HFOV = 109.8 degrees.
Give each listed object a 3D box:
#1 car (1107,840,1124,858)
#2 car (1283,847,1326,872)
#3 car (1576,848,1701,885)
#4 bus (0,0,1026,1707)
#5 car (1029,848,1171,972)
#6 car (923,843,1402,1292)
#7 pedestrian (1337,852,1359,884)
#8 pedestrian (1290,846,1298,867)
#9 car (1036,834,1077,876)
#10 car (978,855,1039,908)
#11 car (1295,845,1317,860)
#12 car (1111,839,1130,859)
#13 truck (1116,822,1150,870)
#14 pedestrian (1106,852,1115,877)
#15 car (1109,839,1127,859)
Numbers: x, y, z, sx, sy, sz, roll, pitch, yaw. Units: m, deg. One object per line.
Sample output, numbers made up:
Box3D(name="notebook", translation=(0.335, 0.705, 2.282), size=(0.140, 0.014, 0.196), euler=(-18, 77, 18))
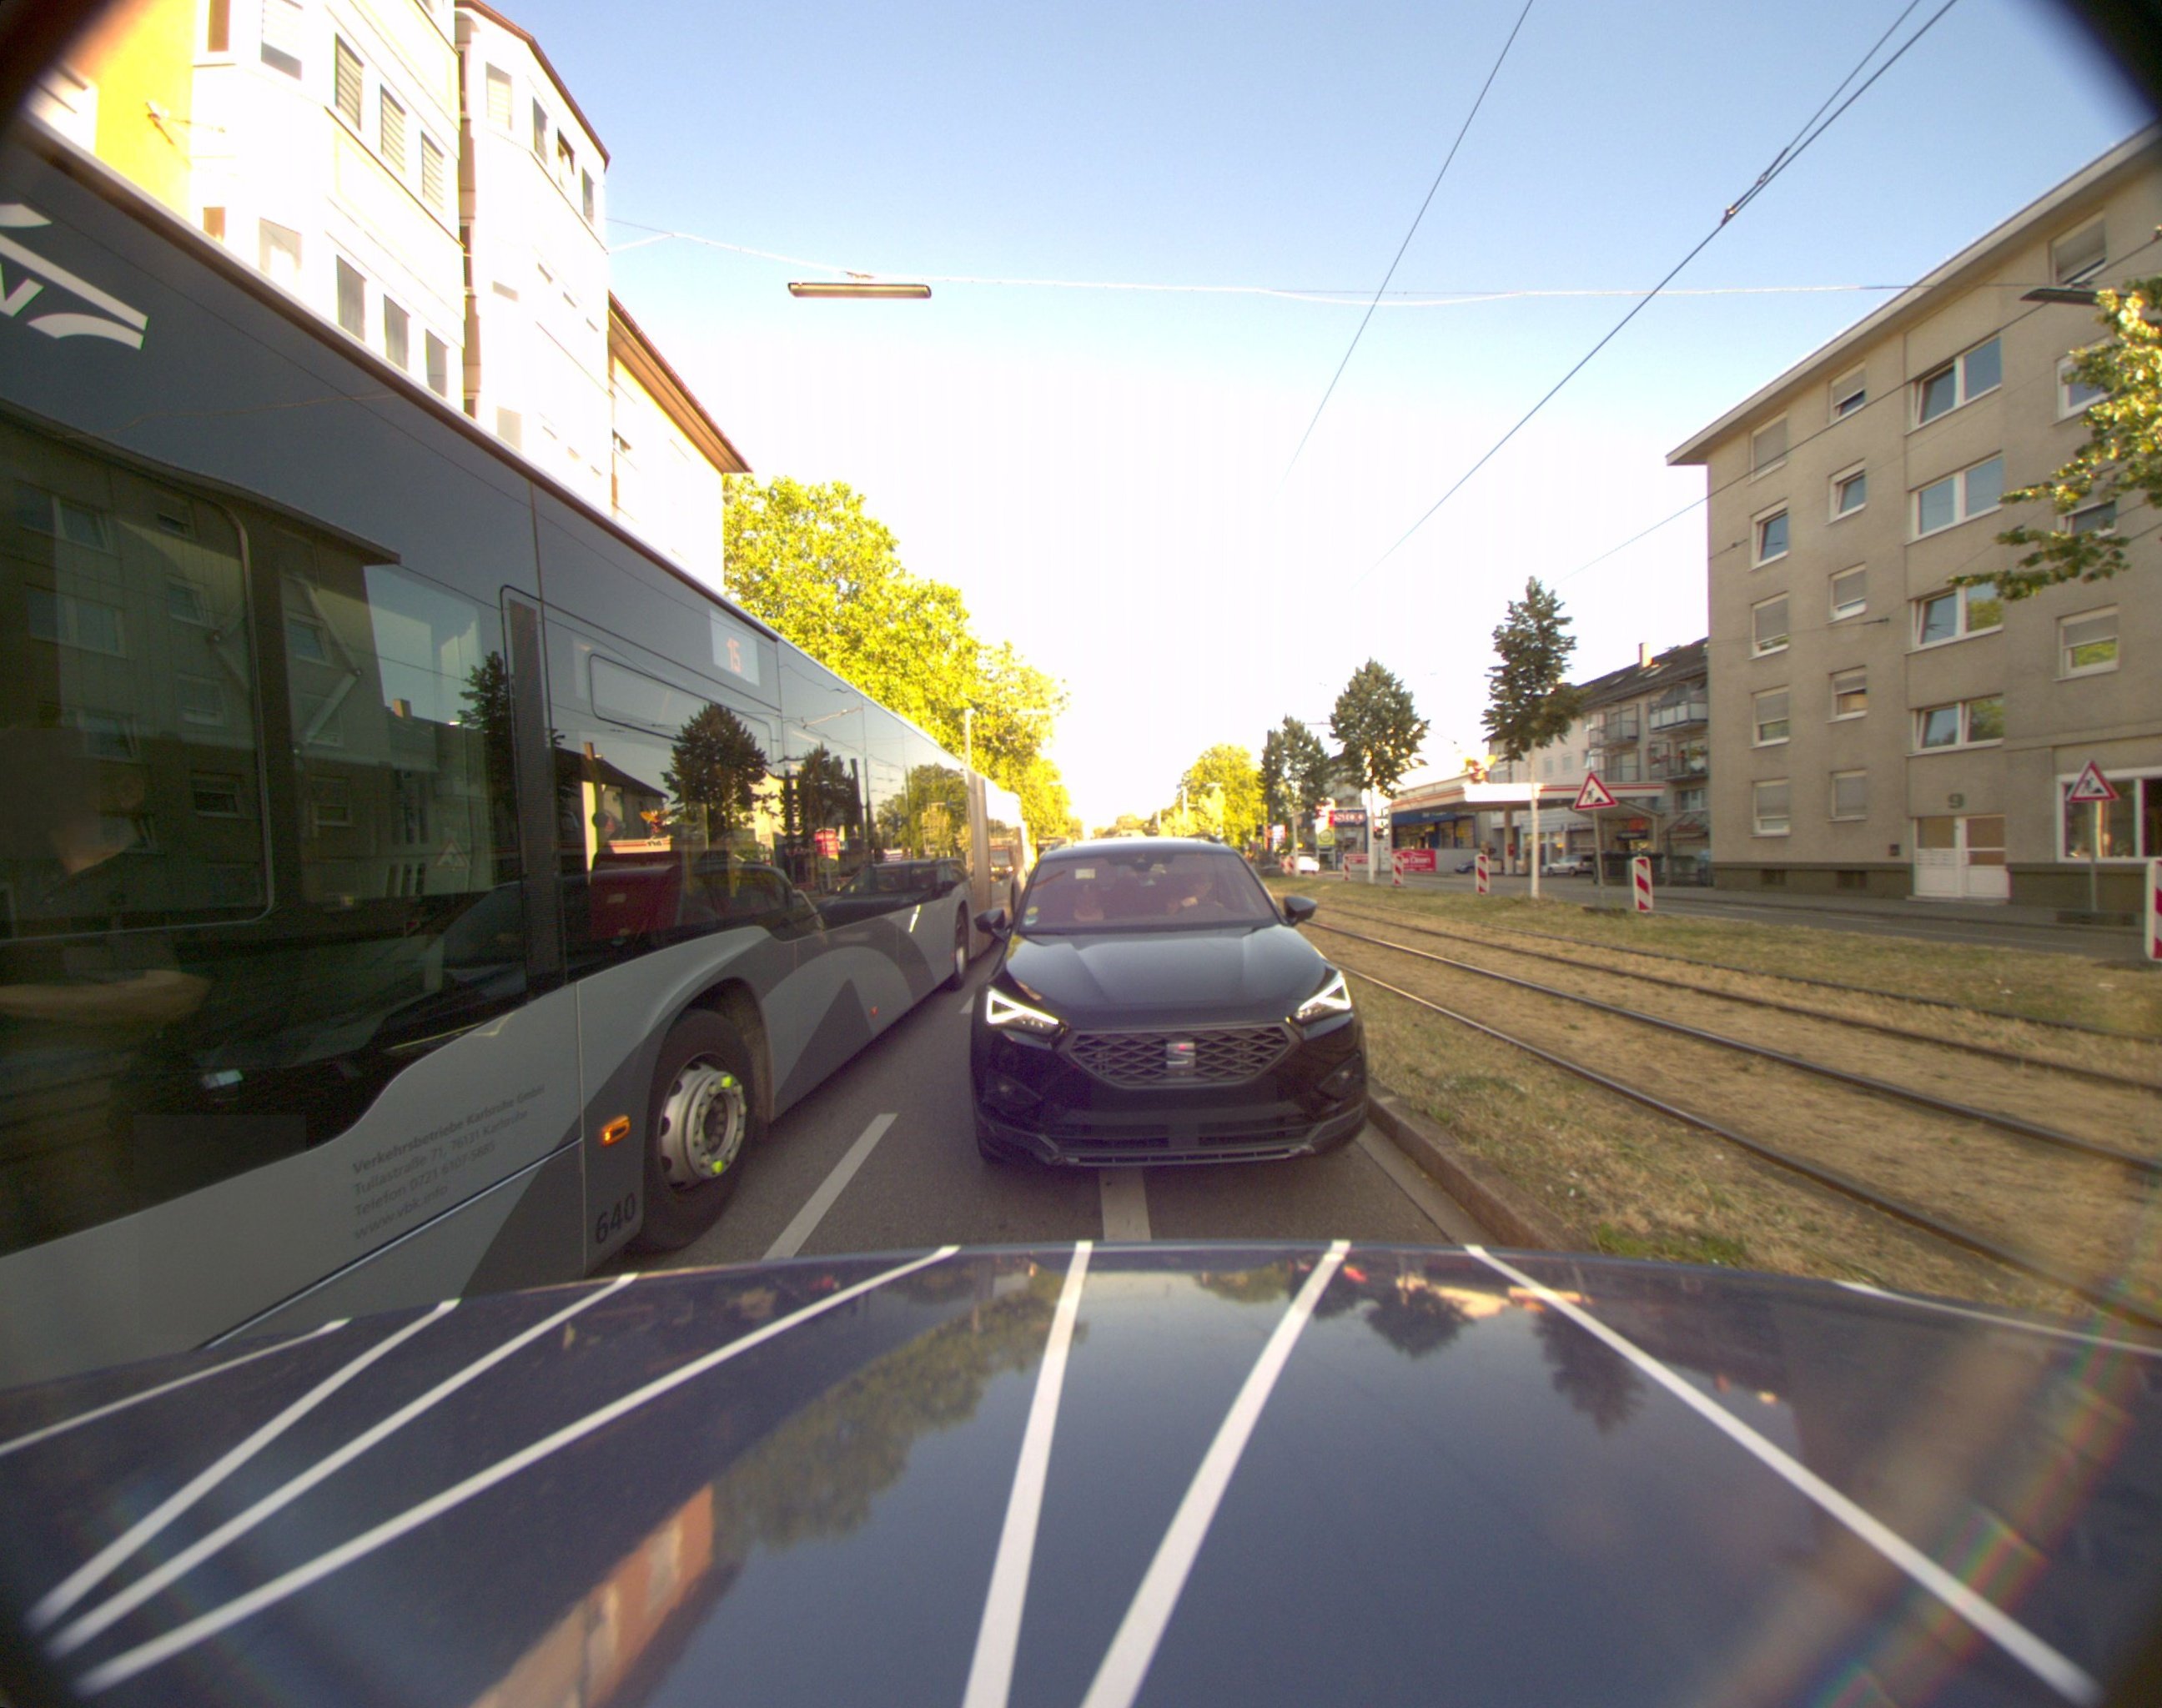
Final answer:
Box3D(name="car", translation=(3.999, -0.607, 87.880), size=(1.767, 2.002, 3.791), euler=(-2, 1, 1))
Box3D(name="car", translation=(16.421, 0.367, 56.048), size=(1.998, 1.725, 4.394), euler=(-1, 1, 3))
Box3D(name="car", translation=(22.782, 0.520, 31.145), size=(3.727, 1.460, 1.908), euler=(0, -1, 0))
Box3D(name="bus", translation=(-2.807, 0.188, 9.042), size=(2.773, 3.131, 17.740), euler=(-2, 0, 1))
Box3D(name="car", translation=(0.296, 0.788, 12.761), size=(1.998, 1.739, 4.000), euler=(0, 0, 1))
Box3D(name="car", translation=(0.337, 0.810, 4.885), size=(1.774, 1.667, 4.000), euler=(-2, 0, 1))
Box3D(name="pedestrian", translation=(10.968, 0.562, 31.250), size=(0.664, 1.263, 0.581), euler=(-2, 0, 1))
Box3D(name="pedestrian", translation=(20.287, 0.274, 72.453), size=(0.632, 2.002, 0.583), euler=(0, 1, 2))
Box3D(name="car", translation=(-1.711, 0.040, 55.713), size=(2.681, 2.875, 5.452), euler=(-2, 1, 0))
Box3D(name="car", translation=(-2.454, 0.906, 26.513), size=(1.750, 1.598, 3.823), euler=(-2, 1, -1))
Box3D(name="car", translation=(25.107, -0.185, 84.818), size=(1.781, 1.547, 4.002), euler=(-2, 1, 9))
Box3D(name="car", translation=(4.071, -0.507, 78.526), size=(1.767, 2.002, 3.791), euler=(-2, 1, 1))
Box3D(name="truck", translation=(4.321, -0.676, 64.410), size=(2.306, 3.798, 7.723), euler=(-2, 1, 1))
Box3D(name="pedestrian", translation=(2.416, 0.822, 61.720), size=(0.625, 2.002, 0.695), euler=(-2, 0, 0))
Box3D(name="car", translation=(4.090, -0.563, 83.559), size=(1.767, 2.002, 3.791), euler=(-2, 1, 1))
